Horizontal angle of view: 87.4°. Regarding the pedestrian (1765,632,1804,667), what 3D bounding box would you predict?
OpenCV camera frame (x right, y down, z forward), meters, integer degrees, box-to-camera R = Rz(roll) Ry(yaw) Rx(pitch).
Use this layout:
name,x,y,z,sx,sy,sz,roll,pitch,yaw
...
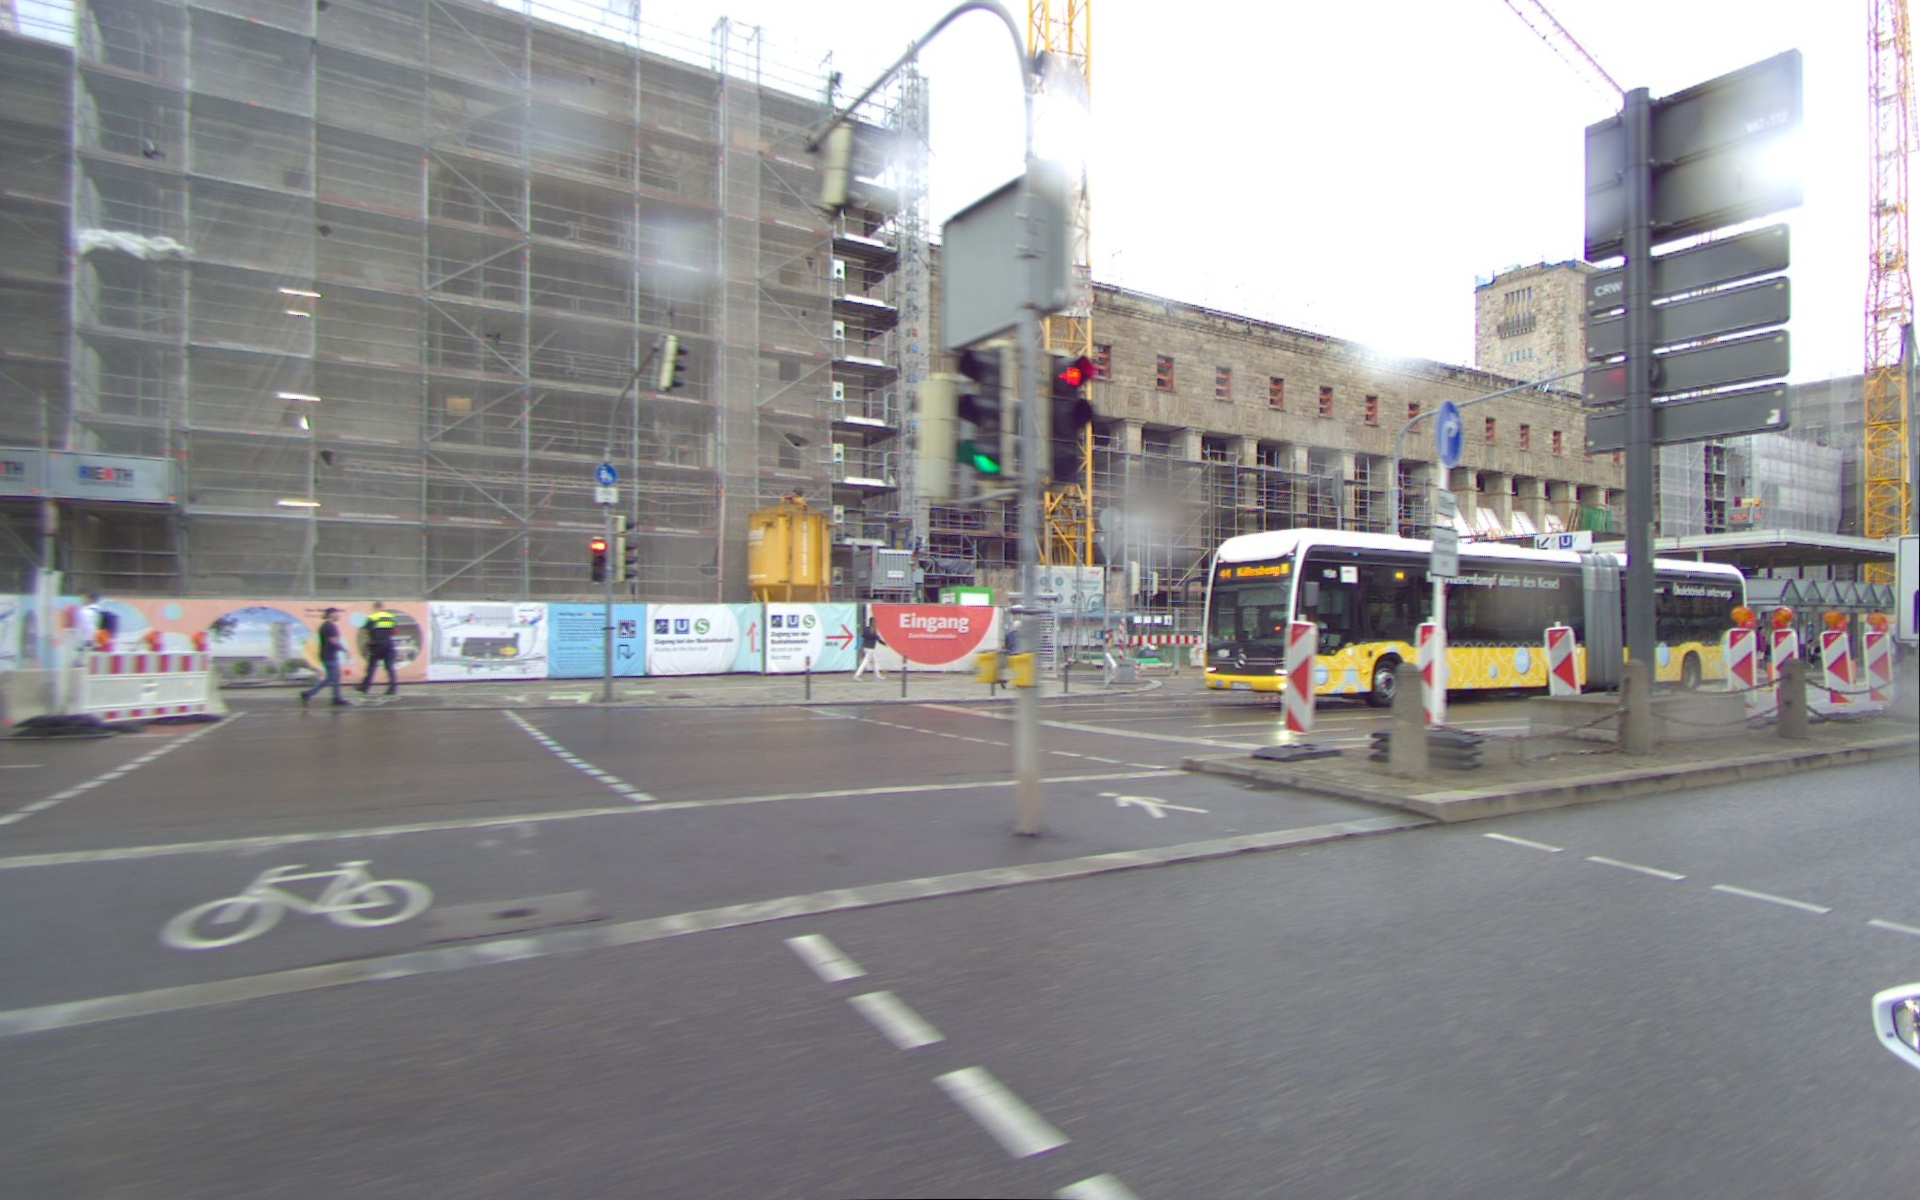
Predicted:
name,x,y,z,sx,sy,sz,roll,pitch,yaw
pedestrian,35.168,2.092,42.847,0.822,1.451,1.049,1,0,-32

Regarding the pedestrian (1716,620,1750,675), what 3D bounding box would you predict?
name,x,y,z,sx,sy,sz,roll,pitch,yaw
pedestrian,28.655,1.760,37.225,0.814,1.985,0.754,1,0,-34

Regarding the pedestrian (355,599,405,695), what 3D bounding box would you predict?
name,x,y,z,sx,sy,sz,roll,pitch,yaw
pedestrian,-11.439,0.906,19.803,0.749,1.836,0.864,1,-1,-35

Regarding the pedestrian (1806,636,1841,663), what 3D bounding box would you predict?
name,x,y,z,sx,sy,sz,roll,pitch,yaw
pedestrian,39.095,2.219,45.479,1.043,1.173,0.944,1,0,-31

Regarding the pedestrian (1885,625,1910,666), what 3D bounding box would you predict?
name,x,y,z,sx,sy,sz,roll,pitch,yaw
pedestrian,43.439,2.123,46.547,0.664,1.872,0.558,1,-1,14

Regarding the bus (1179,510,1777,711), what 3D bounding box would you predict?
name,x,y,z,sx,sy,sz,roll,pitch,yaw
bus,13.387,0.432,24.014,18.848,3.625,2.897,1,-2,-30

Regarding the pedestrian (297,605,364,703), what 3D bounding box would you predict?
name,x,y,z,sx,sy,sz,roll,pitch,yaw
pedestrian,-11.279,0.954,18.034,0.952,1.703,0.751,1,-1,-30

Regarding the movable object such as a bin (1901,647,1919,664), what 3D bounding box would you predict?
name,x,y,z,sx,sy,sz,roll,pitch,yaw
movable object such as a bin,44.082,2.575,46.484,0.621,0.800,0.512,0,-2,14

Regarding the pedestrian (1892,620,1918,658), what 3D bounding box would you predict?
name,x,y,z,sx,sy,sz,roll,pitch,yaw
pedestrian,45.455,1.859,48.325,0.769,1.814,0.671,1,0,31

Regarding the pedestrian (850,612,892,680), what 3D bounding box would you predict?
name,x,y,z,sx,sy,sz,roll,pitch,yaw
pedestrian,-2.282,1.170,25.770,0.860,1.686,0.753,1,-1,-22

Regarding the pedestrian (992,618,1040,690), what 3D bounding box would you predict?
name,x,y,z,sx,sy,sz,roll,pitch,yaw
pedestrian,1.291,1.230,23.262,0.860,1.618,0.753,1,-1,-22

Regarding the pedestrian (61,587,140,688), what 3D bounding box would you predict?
name,x,y,z,sx,sy,sz,roll,pitch,yaw
pedestrian,-14.842,0.639,17.375,0.862,1.686,0.751,1,-1,-29

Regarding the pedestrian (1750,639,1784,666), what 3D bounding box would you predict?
name,x,y,z,sx,sy,sz,roll,pitch,yaw
pedestrian,33.513,2.175,41.725,0.916,1.107,0.839,1,0,-33

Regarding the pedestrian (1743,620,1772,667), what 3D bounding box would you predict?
name,x,y,z,sx,sy,sz,roll,pitch,yaw
pedestrian,30.997,1.682,39.053,0.741,1.814,0.718,1,0,-37
